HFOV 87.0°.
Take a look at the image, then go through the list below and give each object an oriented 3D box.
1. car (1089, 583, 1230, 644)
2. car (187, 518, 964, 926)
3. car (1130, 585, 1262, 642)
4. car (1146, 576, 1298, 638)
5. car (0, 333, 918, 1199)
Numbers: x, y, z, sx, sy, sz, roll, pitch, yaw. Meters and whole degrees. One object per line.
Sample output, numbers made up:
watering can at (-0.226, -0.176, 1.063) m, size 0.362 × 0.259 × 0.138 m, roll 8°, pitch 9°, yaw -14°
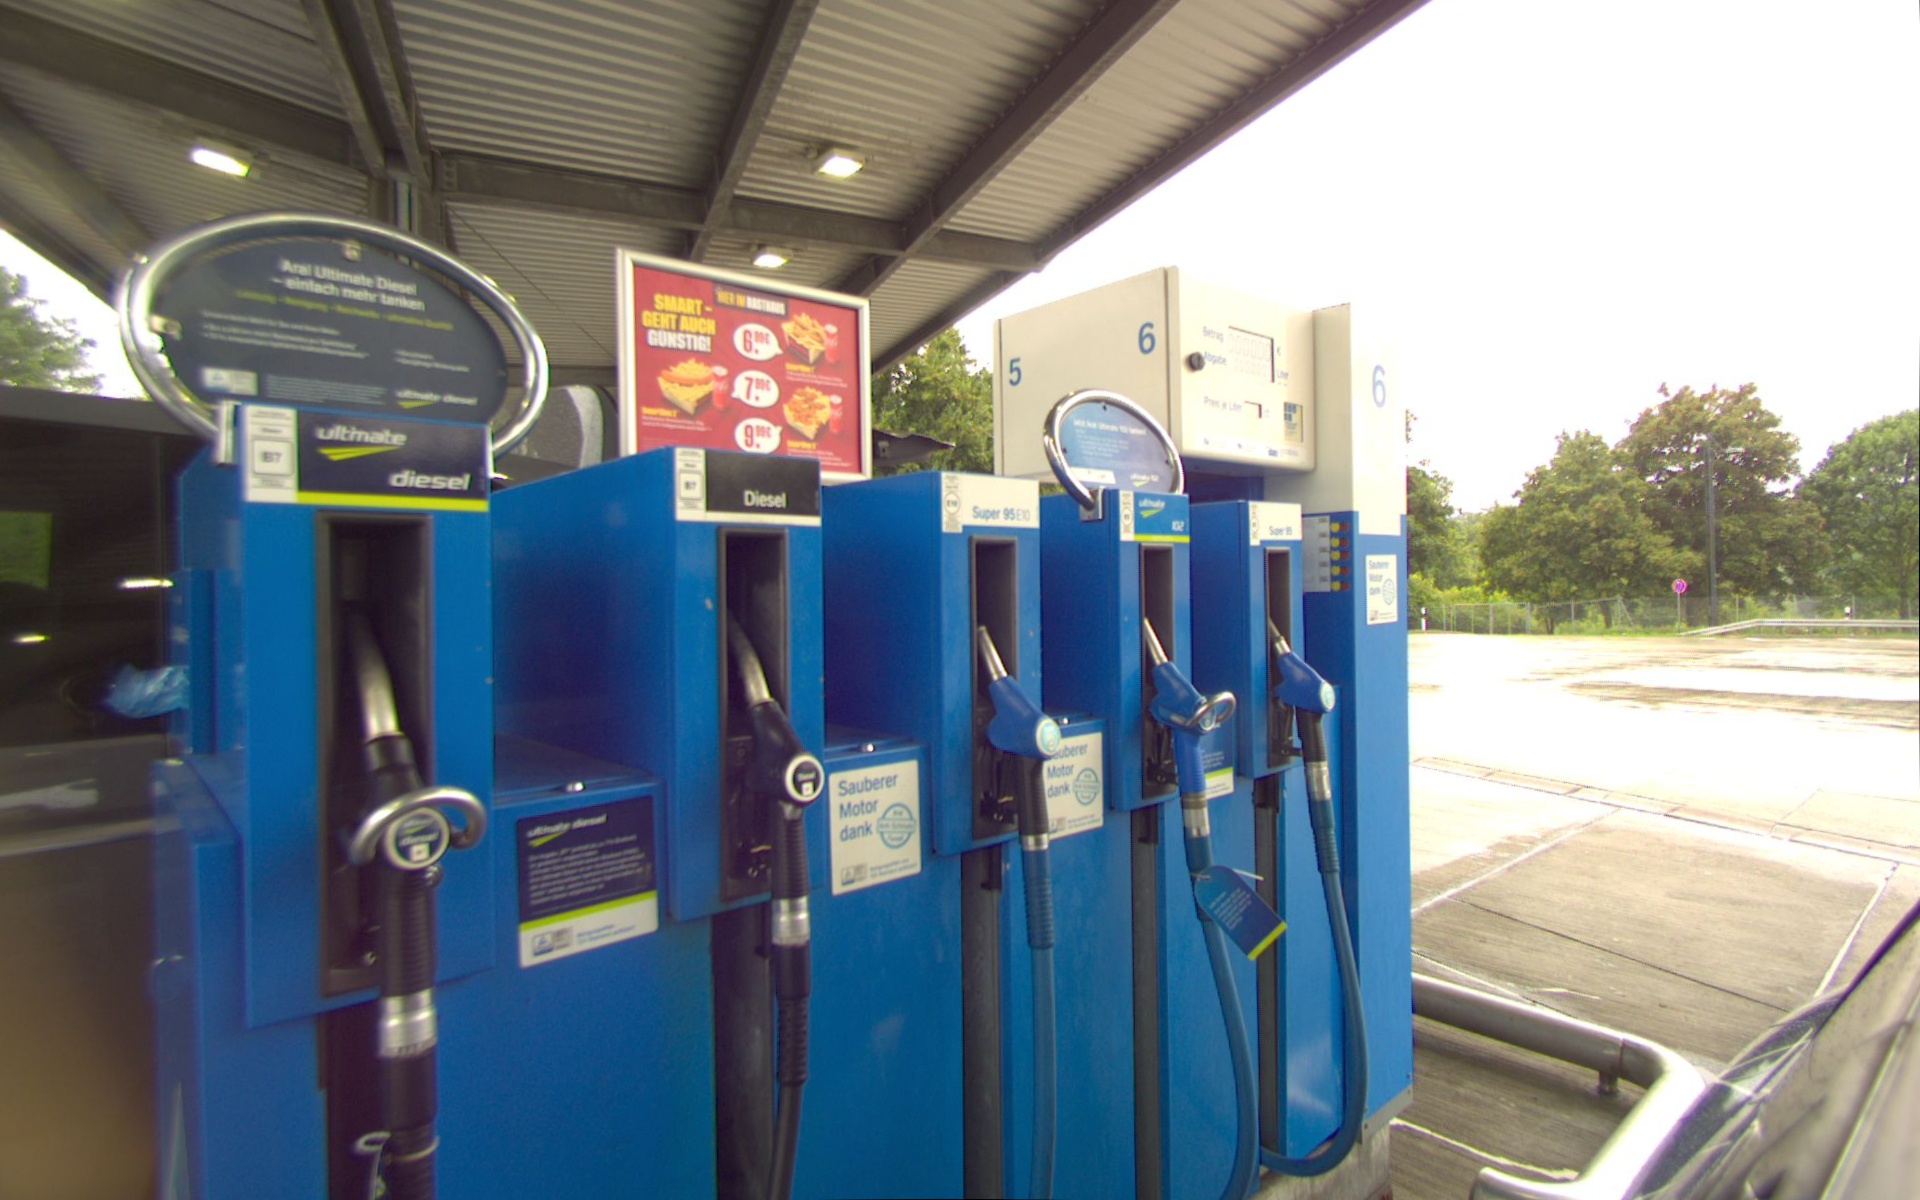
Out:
car at (5.851, 0.375, 29.721) m, size 3.941 × 1.680 × 1.593 m, roll 1°, pitch 0°, yaw 14°
car at (-2.258, 0.518, 6.695) m, size 4.460 × 1.821 × 1.864 m, roll -1°, pitch 0°, yaw -41°
car at (7.405, 0.387, 31.911) m, size 3.941 × 1.680 × 1.593 m, roll 1°, pitch 0°, yaw 14°
car at (8.867, 0.208, 34.494) m, size 4.817 × 1.974 × 2.306 m, roll 1°, pitch 1°, yaw 14°
car at (-2.623, 0.501, 1.808) m, size 5.050 × 1.821 × 1.864 m, roll -1°, pitch 0°, yaw -41°
